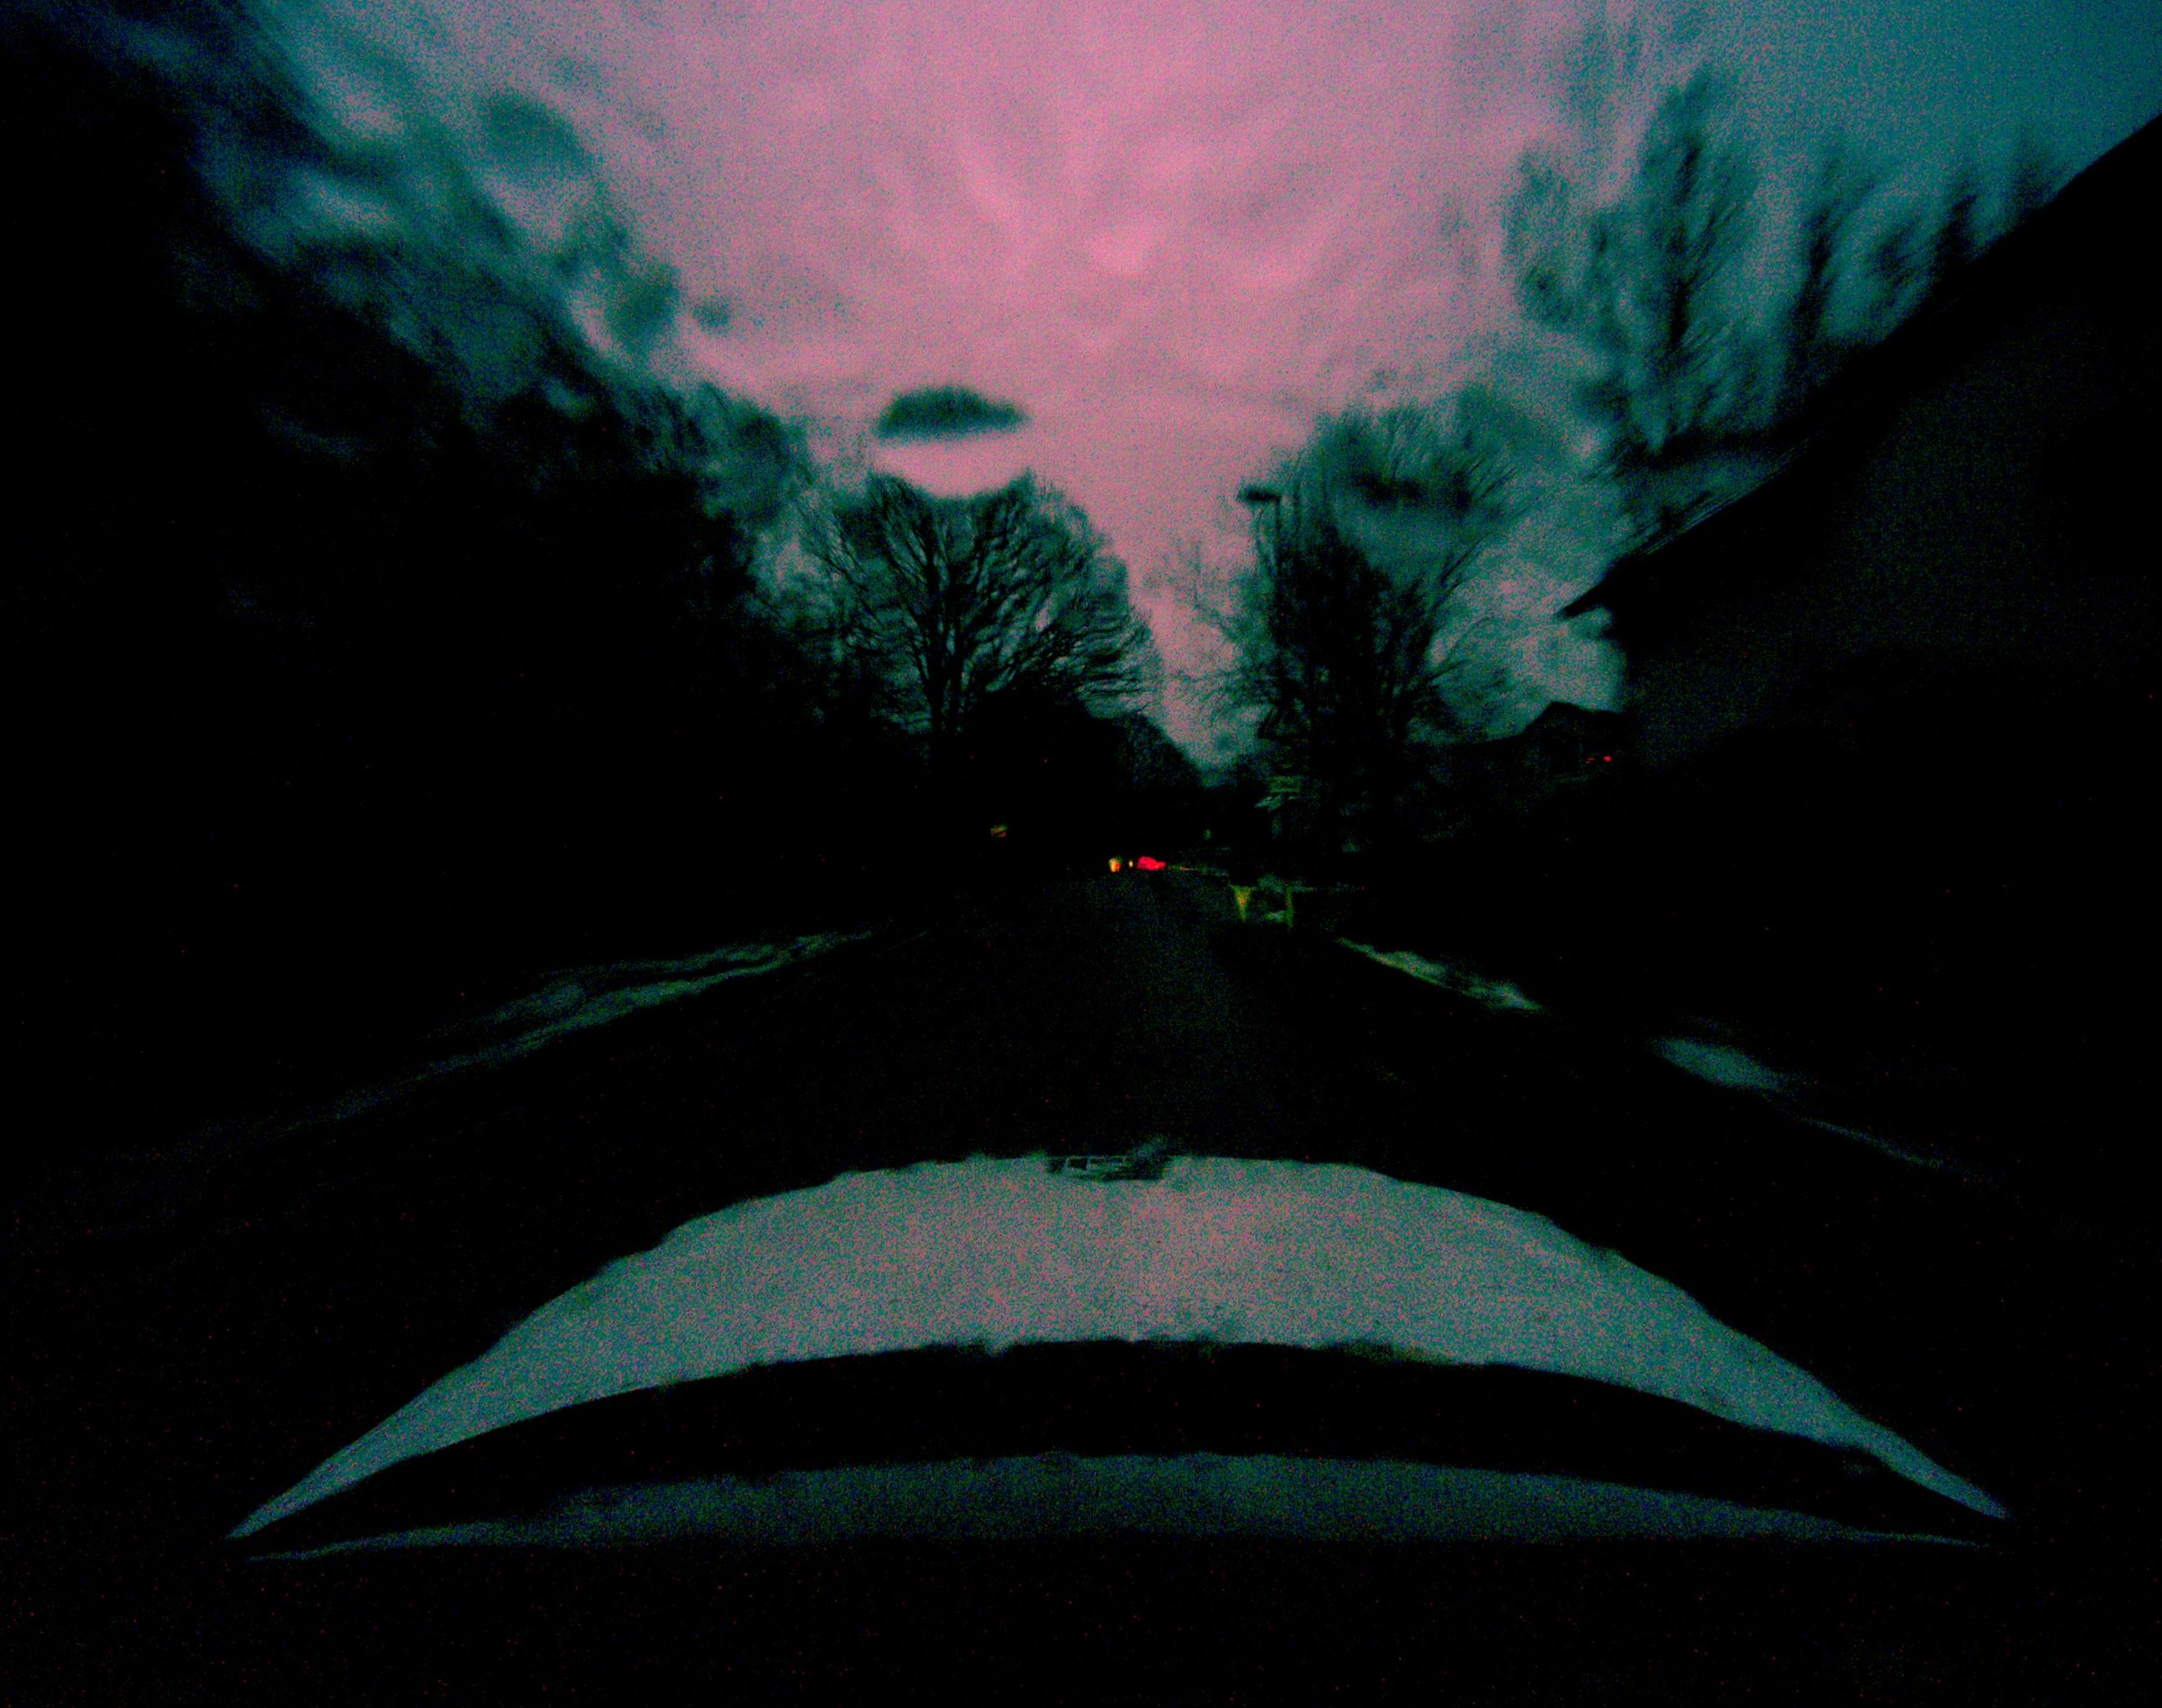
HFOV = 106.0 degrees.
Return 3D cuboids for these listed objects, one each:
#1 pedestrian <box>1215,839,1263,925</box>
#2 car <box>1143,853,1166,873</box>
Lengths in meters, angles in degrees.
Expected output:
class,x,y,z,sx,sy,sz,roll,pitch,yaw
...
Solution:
class,x,y,z,sx,sy,sz,roll,pitch,yaw
pedestrian,3.166,0.541,16.404,0.741,1.655,0.970,-2,0,1
car,7.198,0.832,79.286,1.922,1.781,4.009,-2,0,8
